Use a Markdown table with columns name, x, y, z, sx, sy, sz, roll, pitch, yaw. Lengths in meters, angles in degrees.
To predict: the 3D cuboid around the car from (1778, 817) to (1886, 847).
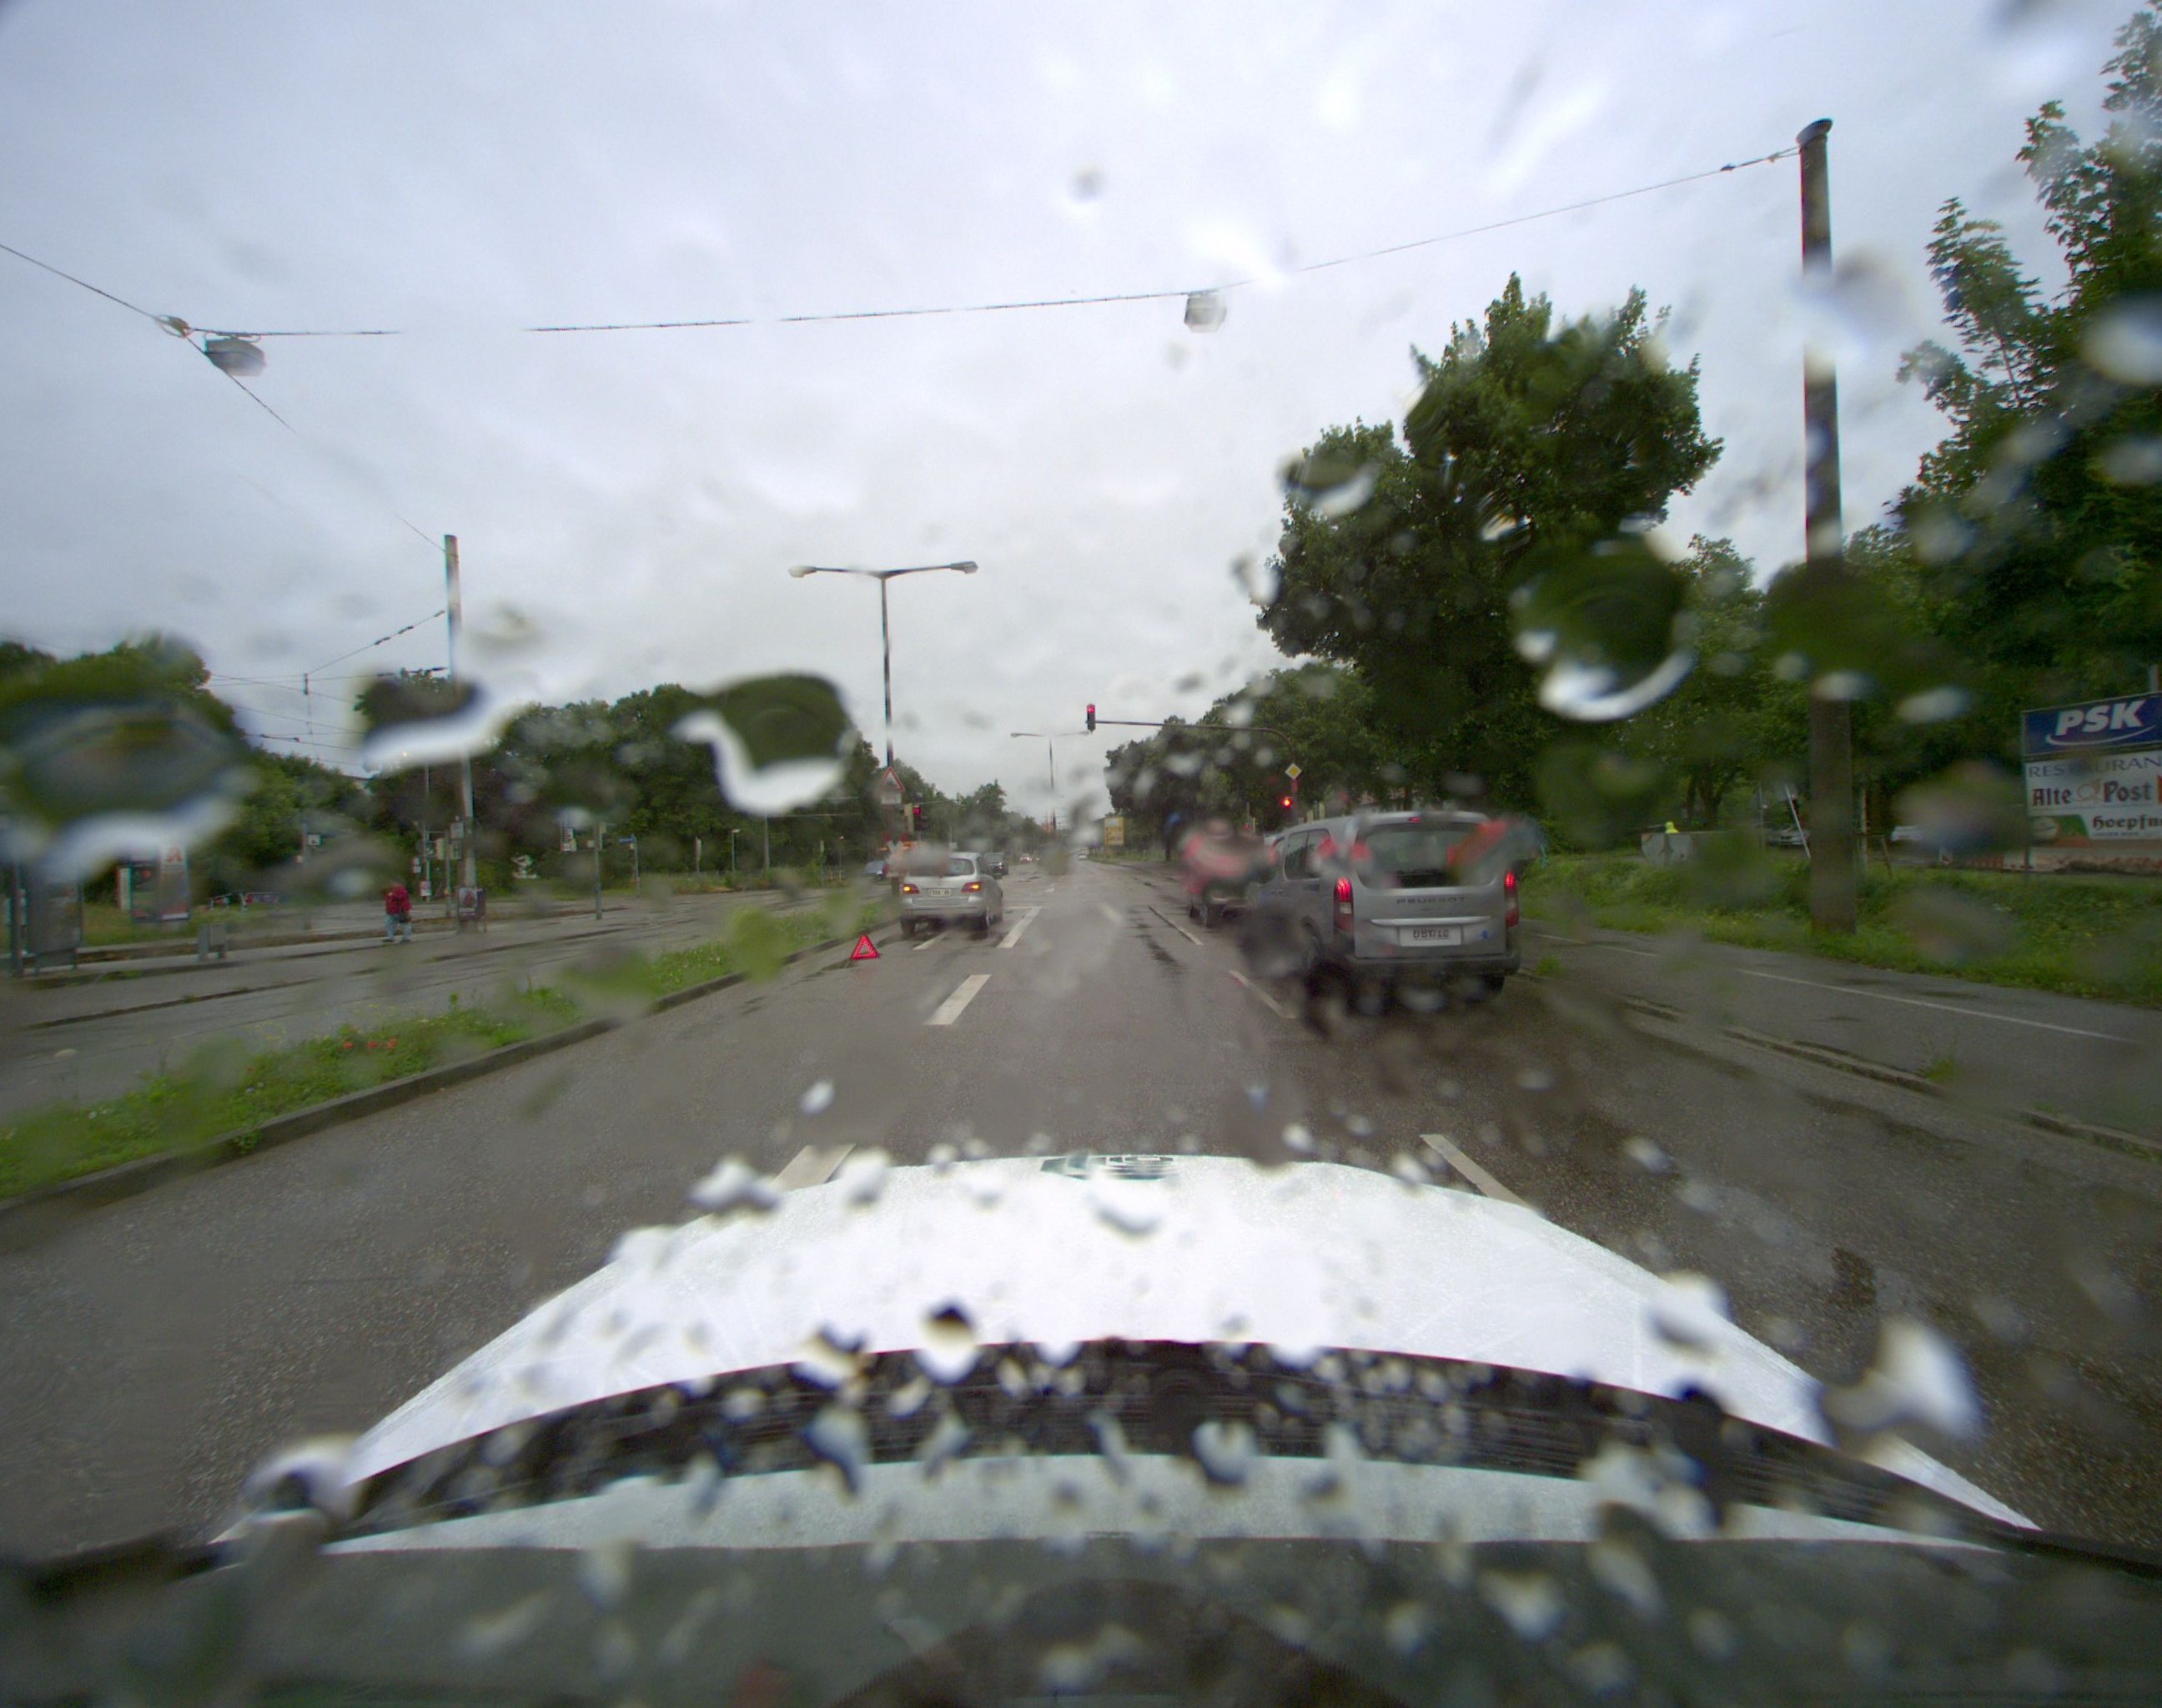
| name | x | y | z | sx | sy | sz | roll | pitch | yaw |
| --- | --- | --- | --- | --- | --- | --- | --- | --- | --- |
| car | 43.772 | -1.263 | 47.533 | 4.572 | 1.630 | 1.925 | 0 | -1 | -1 |

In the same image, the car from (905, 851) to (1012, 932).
| name | x | y | z | sx | sy | sz | roll | pitch | yaw |
| --- | --- | --- | --- | --- | --- | --- | --- | --- | --- |
| car | -2.573 | 0.737 | 17.964 | 1.731 | 1.544 | 4.011 | -2 | 0 | -1 |

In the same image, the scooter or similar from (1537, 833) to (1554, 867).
| name | x | y | z | sx | sy | sz | roll | pitch | yaw |
| --- | --- | --- | --- | --- | --- | --- | --- | --- | --- |
| scooter or similar | 16.207 | -0.140 | 28.397 | 0.284 | 1.176 | 0.561 | -2 | 0 | 7 |

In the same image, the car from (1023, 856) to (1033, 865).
| name | x | y | z | sx | sy | sz | roll | pitch | yaw |
| --- | --- | --- | --- | --- | --- | --- | --- | --- | --- |
| car | -10.721 | 1.316 | 165.042 | 1.796 | 1.569 | 4.426 | -4 | -1 | -1 |

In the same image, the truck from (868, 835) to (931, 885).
| name | x | y | z | sx | sy | sz | roll | pitch | yaw |
| --- | --- | --- | --- | --- | --- | --- | --- | --- | --- |
| truck | -16.092 | 0.527 | 73.233 | 3.374 | 4.167 | 10.403 | 0 | -1 | 0 |

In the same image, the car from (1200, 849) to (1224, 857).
| name | x | y | z | sx | sy | sz | roll | pitch | yaw |
| --- | --- | --- | --- | --- | --- | --- | --- | --- | --- |
| car | 27.433 | -0.231 | 170.990 | 4.564 | 1.645 | 1.996 | 0 | -1 | -6 |

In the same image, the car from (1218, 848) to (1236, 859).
| name | x | y | z | sx | sy | sz | roll | pitch | yaw |
| --- | --- | --- | --- | --- | --- | --- | --- | --- | --- |
| car | 20.214 | -0.070 | 113.048 | 1.633 | 1.486 | 4.069 | 0 | -1 | -2 |

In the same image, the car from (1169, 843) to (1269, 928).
| name | x | y | z | sx | sy | sz | roll | pitch | yaw |
| --- | --- | --- | --- | --- | --- | --- | --- | --- | --- |
| car | 2.877 | 0.628 | 17.635 | 1.874 | 1.610 | 4.203 | 0 | -1 | 7 |

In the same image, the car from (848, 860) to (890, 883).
| name | x | y | z | sx | sy | sz | roll | pitch | yaw |
| --- | --- | --- | --- | --- | --- | --- | --- | --- | --- |
| car | -16.283 | 1.311 | 62.765 | 1.987 | 1.709 | 4.527 | 0 | -1 | 1 |

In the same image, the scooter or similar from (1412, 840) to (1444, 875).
| name | x | y | z | sx | sy | sz | roll | pitch | yaw |
| --- | --- | --- | --- | --- | --- | --- | --- | --- | --- |
| scooter or similar | 12.341 | 0.120 | 28.977 | 0.953 | 1.229 | 0.322 | -2 | 0 | 4 |

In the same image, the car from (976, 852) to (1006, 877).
| name | x | y | z | sx | sy | sz | roll | pitch | yaw |
| --- | --- | --- | --- | --- | --- | --- | --- | --- | --- |
| car | -7.110 | 0.787 | 64.773 | 1.800 | 1.773 | 5.087 | -4 | 0 | -1 |

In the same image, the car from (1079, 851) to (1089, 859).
| name | x | y | z | sx | sy | sz | roll | pitch | yaw |
| --- | --- | --- | --- | --- | --- | --- | --- | --- | --- |
| car | 0.633 | 0.200 | 160.011 | 1.901 | 1.515 | 4.000 | -2 | 0 | 0 |

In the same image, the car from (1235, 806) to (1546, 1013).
| name | x | y | z | sx | sy | sz | roll | pitch | yaw |
| --- | --- | --- | --- | --- | --- | --- | --- | --- | --- |
| car | 3.150 | 0.498 | 9.453 | 1.986 | 1.795 | 4.564 | -1 | 0 | 2 |

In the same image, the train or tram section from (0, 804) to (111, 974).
| name | x | y | z | sx | sy | sz | roll | pitch | yaw |
| --- | --- | --- | --- | --- | --- | --- | --- | --- | --- |
| train or tram section | -23.300 | 0.768 | 13.322 | 3.521 | 3.389 | 9.279 | -2 | 0 | 1 |

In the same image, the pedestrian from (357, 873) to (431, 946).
| name | x | y | z | sx | sy | sz | roll | pitch | yaw |
| --- | --- | --- | --- | --- | --- | --- | --- | --- | --- |
| pedestrian | -16.411 | 1.307 | 19.478 | 0.921 | 1.675 | 0.997 | 0 | -1 | 1 |

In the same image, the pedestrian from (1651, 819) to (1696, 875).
| name | x | y | z | sx | sy | sz | roll | pitch | yaw |
| --- | --- | --- | --- | --- | --- | --- | --- | --- | --- |
| pedestrian | 18.641 | -0.221 | 25.635 | 0.786 | 1.678 | 0.667 | -6 | 0 | -6 |

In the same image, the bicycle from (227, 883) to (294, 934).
| name | x | y | z | sx | sy | sz | roll | pitch | yaw |
| --- | --- | --- | --- | --- | --- | --- | --- | --- | --- |
| bicycle | -30.354 | 1.989 | 30.163 | 0.637 | 1.761 | 1.735 | -2 | 0 | 1 |

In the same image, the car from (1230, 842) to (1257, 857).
| name | x | y | z | sx | sy | sz | roll | pitch | yaw |
| --- | --- | --- | --- | --- | --- | --- | --- | --- | --- |
| car | 19.733 | -0.492 | 99.161 | 1.989 | 1.717 | 4.874 | -3 | 0 | -2 |

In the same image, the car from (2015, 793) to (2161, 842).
| name | x | y | z | sx | sy | sz | roll | pitch | yaw |
| --- | --- | --- | --- | --- | --- | --- | --- | --- | --- |
| car | 44.732 | -1.572 | 35.953 | 4.146 | 1.965 | 1.936 | -1 | -1 | 21 |

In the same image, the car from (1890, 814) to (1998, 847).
| name | x | y | z | sx | sy | sz | roll | pitch | yaw |
| --- | --- | --- | --- | --- | --- | --- | --- | --- | --- |
| car | 44.205 | -1.184 | 41.756 | 3.643 | 1.597 | 1.721 | 0 | -1 | 2 |

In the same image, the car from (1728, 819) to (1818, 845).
| name | x | y | z | sx | sy | sz | roll | pitch | yaw |
| --- | --- | --- | --- | --- | --- | --- | --- | --- | --- |
| car | 44.900 | -1.408 | 52.865 | 4.584 | 1.583 | 1.920 | 0 | -1 | -9 |

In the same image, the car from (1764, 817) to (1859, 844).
| name | x | y | z | sx | sy | sz | roll | pitch | yaw |
| --- | --- | --- | --- | --- | --- | --- | --- | --- | --- |
| car | 44.946 | -1.431 | 50.138 | 4.584 | 1.583 | 1.920 | 0 | -1 | -9 |
